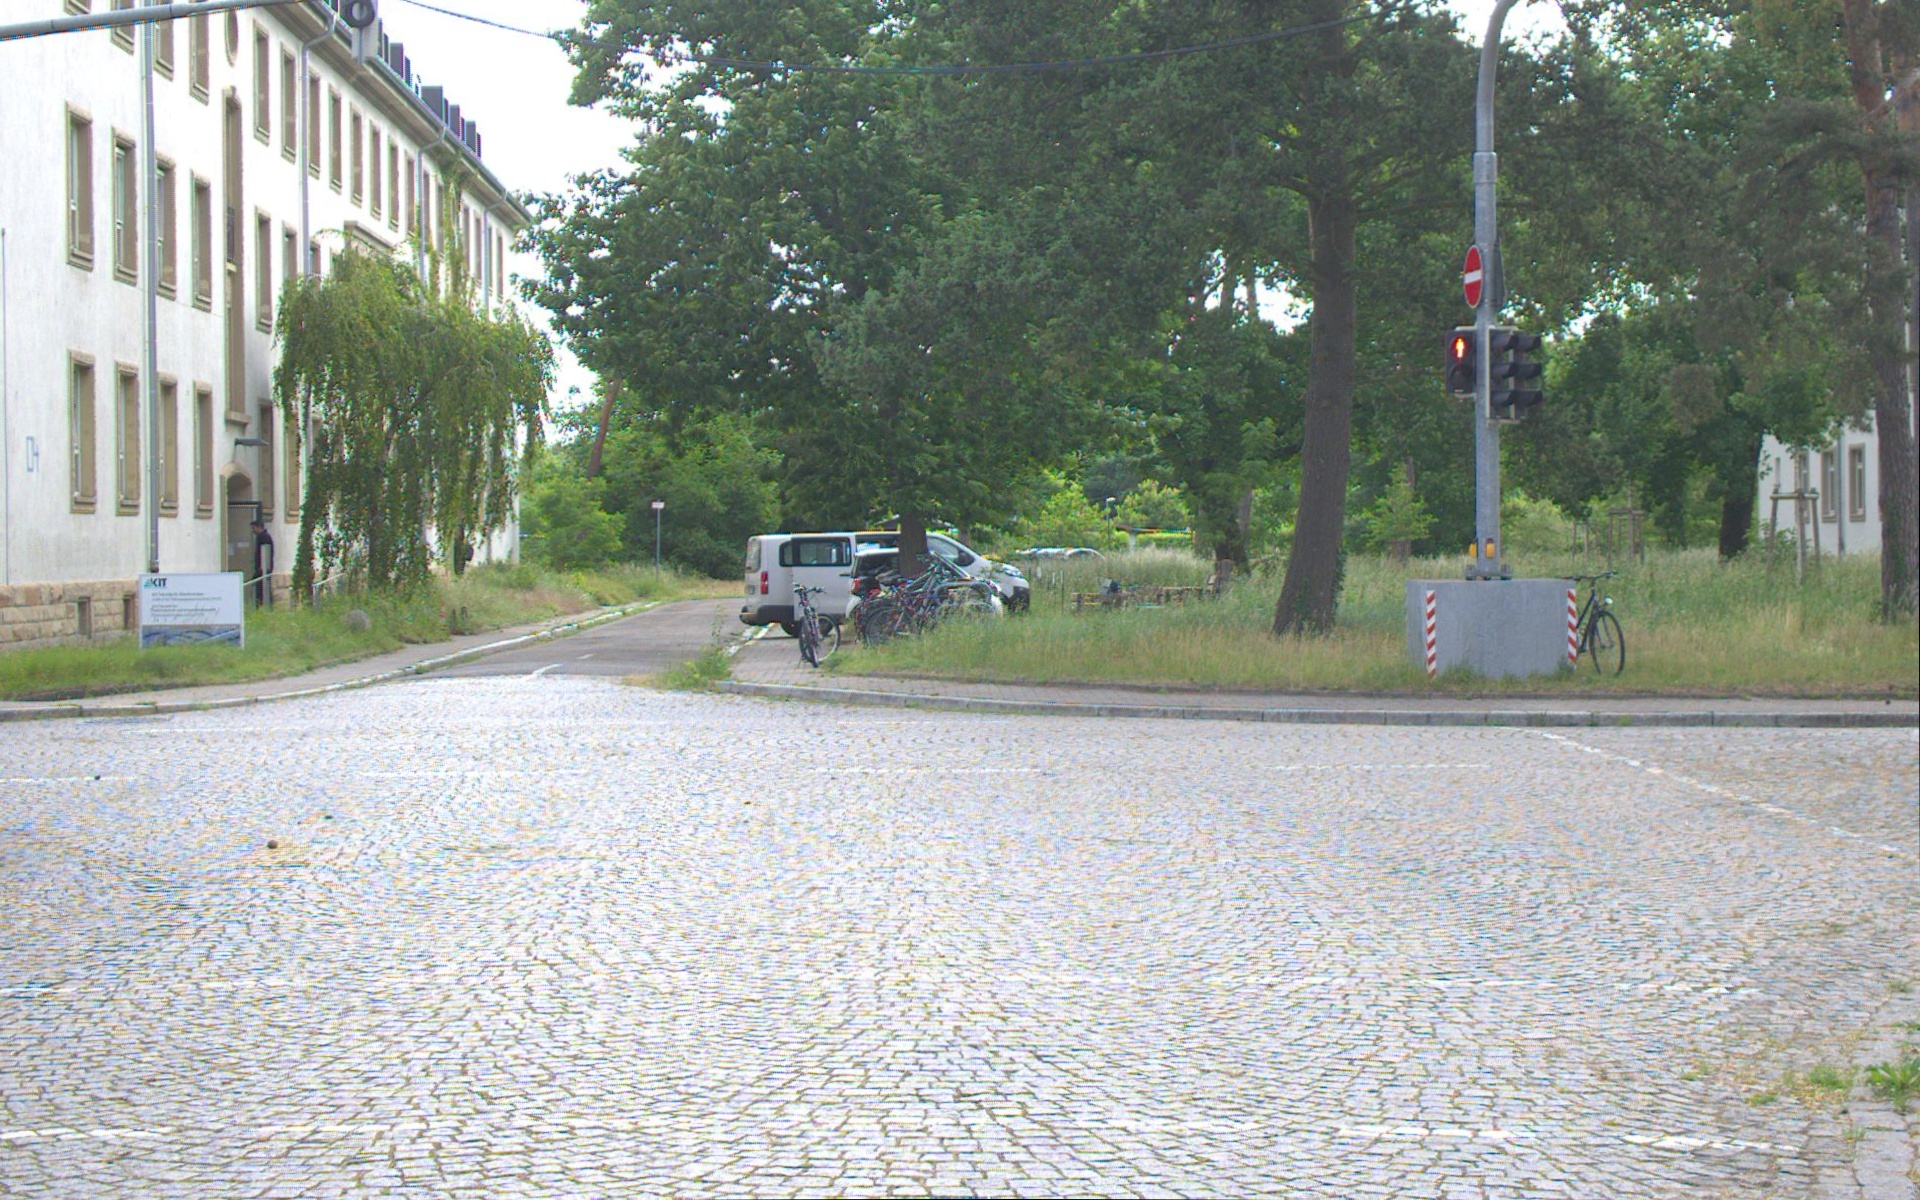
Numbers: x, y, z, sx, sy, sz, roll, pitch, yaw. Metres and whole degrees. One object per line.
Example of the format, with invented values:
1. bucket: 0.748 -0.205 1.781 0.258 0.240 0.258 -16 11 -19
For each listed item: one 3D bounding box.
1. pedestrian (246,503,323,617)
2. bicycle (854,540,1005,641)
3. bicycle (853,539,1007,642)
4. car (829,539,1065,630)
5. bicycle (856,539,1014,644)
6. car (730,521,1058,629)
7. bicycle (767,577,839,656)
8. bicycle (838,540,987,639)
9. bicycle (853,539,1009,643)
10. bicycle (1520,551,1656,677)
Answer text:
1. pedestrian: -11.931 -0.711 60.778 1.087 2.007 1.021 0 1 4
2. bicycle: -0.424 -0.139 47.523 2.070 1.373 0.620 0 1 0
3. bicycle: -0.412 -0.131 46.726 2.070 1.373 0.620 0 1 0
4. car: -0.258 -0.286 59.955 3.931 1.539 2.000 0 1 -6
5. bicycle: -0.333 -0.117 45.432 2.070 1.373 0.620 0 1 0
6. car: -1.235 -0.483 63.311 5.690 1.904 2.231 -1 1 -13
7. bicycle: -1.984 0.194 43.618 0.618 0.960 2.076 0 1 6
8. bicycle: -0.670 -0.154 48.319 2.070 1.373 0.620 0 1 0
9. bicycle: -0.393 -0.125 46.102 2.070 1.373 0.620 0 1 0
10. bicycle: 6.053 0.116 33.242 0.908 1.173 1.874 0 1 -2
